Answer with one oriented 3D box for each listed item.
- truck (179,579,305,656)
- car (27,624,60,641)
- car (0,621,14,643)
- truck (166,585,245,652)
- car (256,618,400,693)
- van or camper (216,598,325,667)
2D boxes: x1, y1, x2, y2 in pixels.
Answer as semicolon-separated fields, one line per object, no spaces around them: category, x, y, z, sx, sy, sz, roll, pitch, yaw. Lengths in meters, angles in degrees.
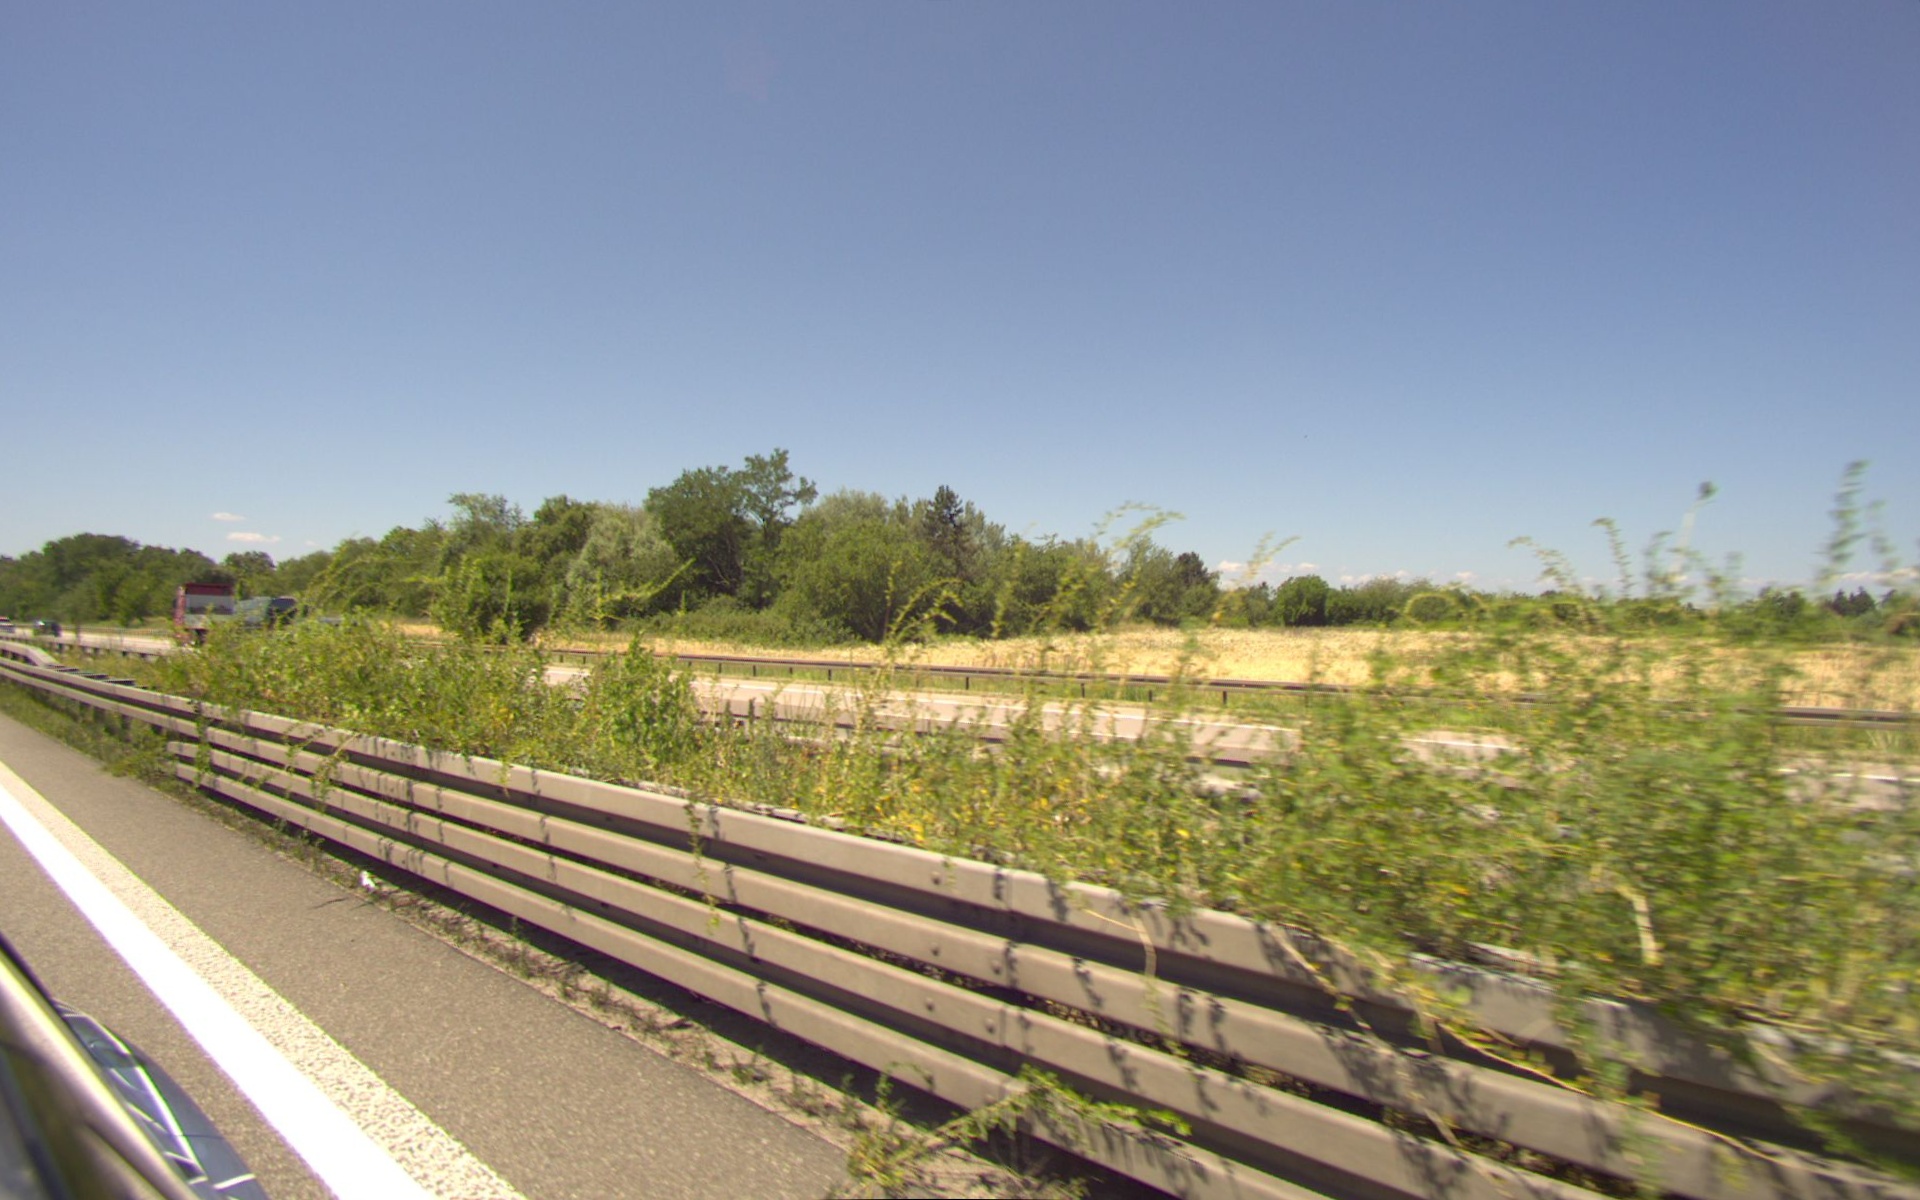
truck;-42.460;1.089;59.559;13.515;4.045;2.732;-1;-4;41
car;-81.845;2.913;90.347;3.675;1.462;1.715;-1;-3;41
car;-69.686;2.292;72.912;4.093;1.580;1.785;-1;-3;41
truck;-48.125;1.196;64.498;5.747;4.045;2.732;-1;-4;41
car;-15.335;1.308;24.478;4.122;1.666;1.780;-1;-4;41
van or camper;-28.307;1.318;41.459;5.869;2.608;2.148;-1;-4;41
